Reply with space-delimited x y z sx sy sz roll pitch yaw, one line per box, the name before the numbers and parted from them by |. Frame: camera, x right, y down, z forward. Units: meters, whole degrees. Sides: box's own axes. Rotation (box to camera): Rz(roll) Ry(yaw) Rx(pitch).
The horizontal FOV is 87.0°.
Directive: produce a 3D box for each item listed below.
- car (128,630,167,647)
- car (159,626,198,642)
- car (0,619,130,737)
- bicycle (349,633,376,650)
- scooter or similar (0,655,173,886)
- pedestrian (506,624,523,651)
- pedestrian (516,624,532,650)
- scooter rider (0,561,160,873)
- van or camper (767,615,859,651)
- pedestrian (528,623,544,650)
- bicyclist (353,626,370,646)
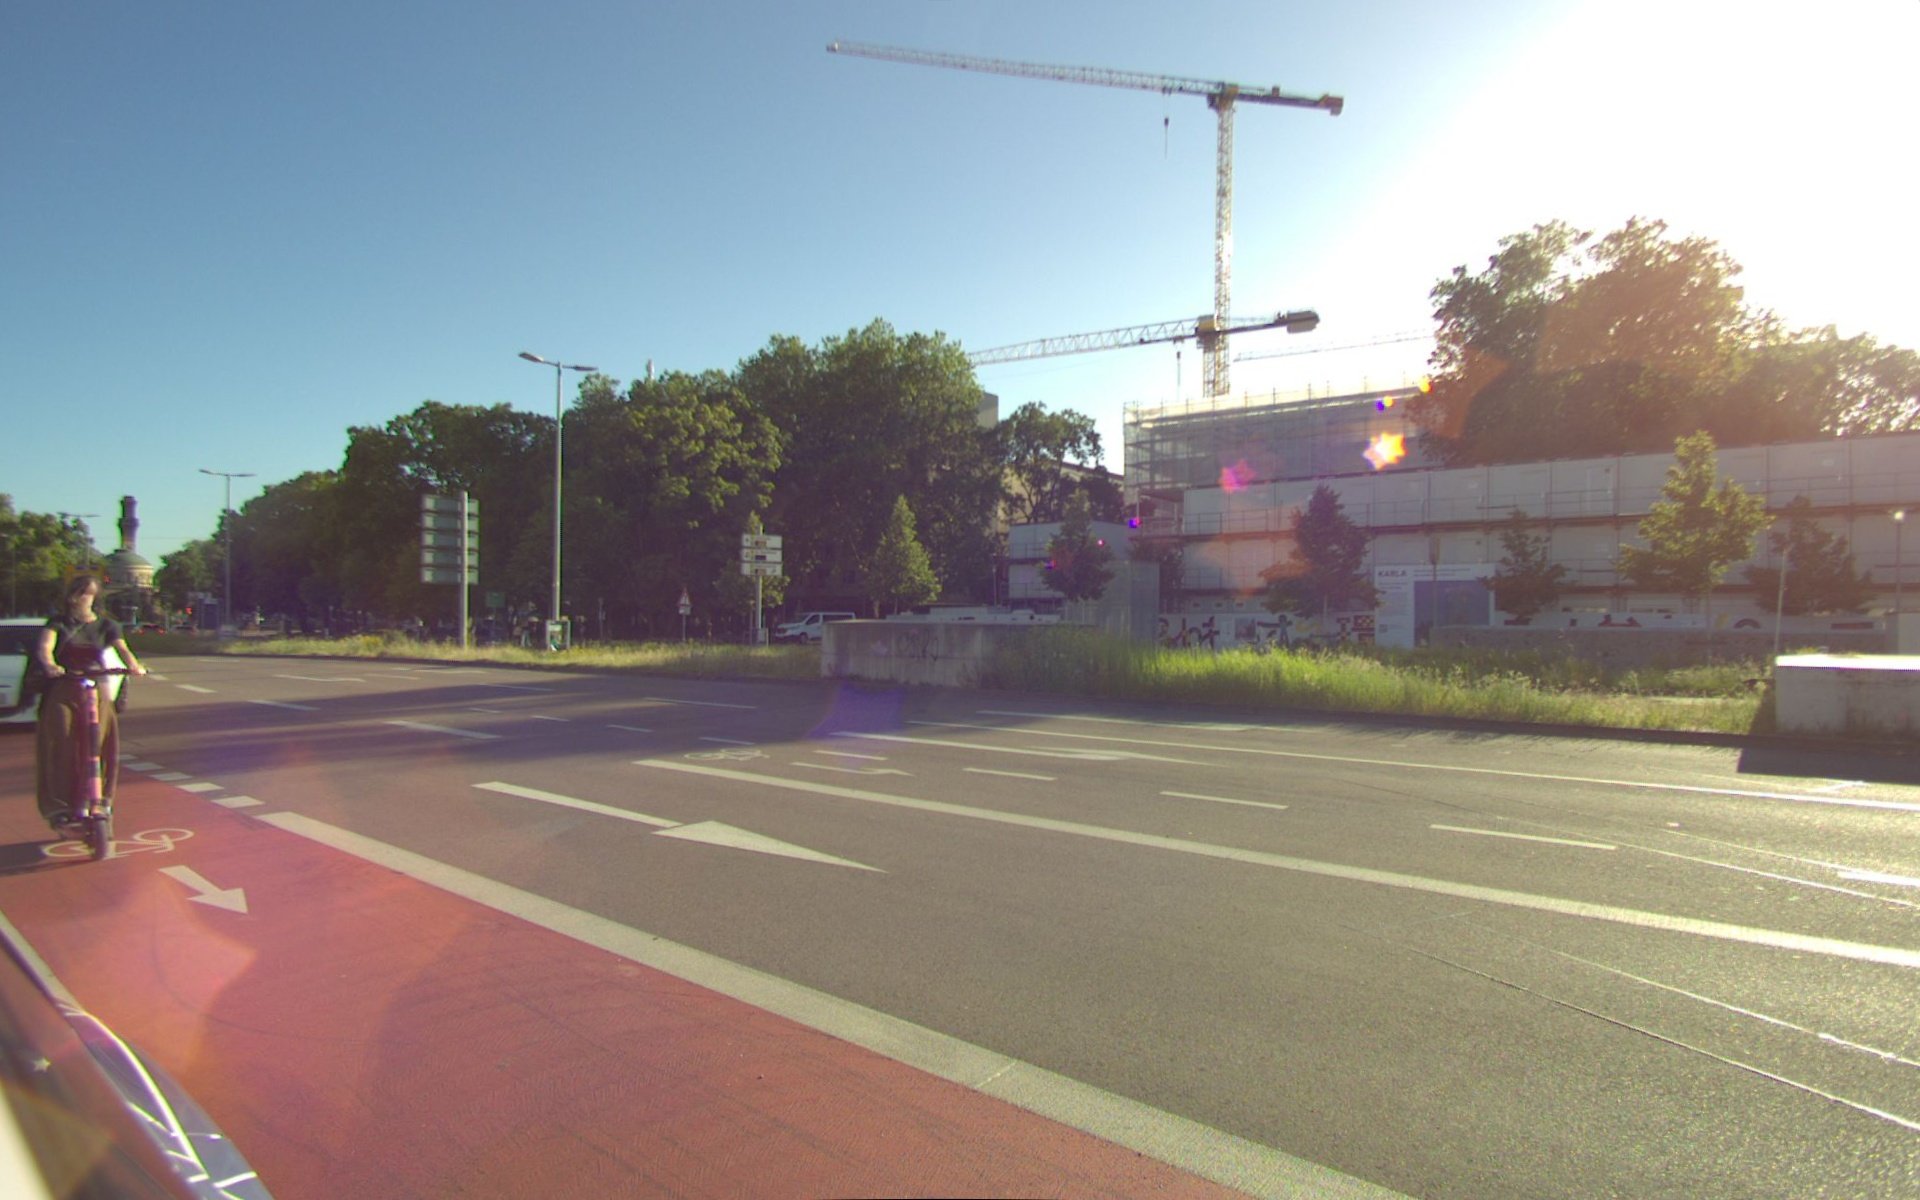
car | -69.760 3.294 86.851 3.996 1.409 1.849 -1 -2 40
car | -75.734 3.271 98.071 3.994 1.519 1.975 -1 -2 37
car | -13.138 1.013 14.197 1.651 1.460 3.901 -1 0 -30
bicycle | -37.391 2.611 63.327 2.239 1.030 0.631 -1 -2 36
scooter or similar | -5.629 0.983 6.402 1.664 1.211 0.721 -1 -1 41
pedestrian | -29.017 2.423 65.905 0.762 1.738 0.698 -1 -2 41
pedestrian | -28.662 2.418 66.510 0.762 1.738 0.656 -1 -2 41
scooter rider | -5.575 0.677 6.358 0.811 1.788 0.721 -1 -1 41
van or camper | -8.932 1.962 61.944 1.948 2.029 5.576 -1 0 42
pedestrian | -28.067 2.410 67.063 0.762 1.738 0.698 -1 -2 41
bicyclist | -37.485 2.249 63.407 0.884 1.292 0.631 -1 -2 36
